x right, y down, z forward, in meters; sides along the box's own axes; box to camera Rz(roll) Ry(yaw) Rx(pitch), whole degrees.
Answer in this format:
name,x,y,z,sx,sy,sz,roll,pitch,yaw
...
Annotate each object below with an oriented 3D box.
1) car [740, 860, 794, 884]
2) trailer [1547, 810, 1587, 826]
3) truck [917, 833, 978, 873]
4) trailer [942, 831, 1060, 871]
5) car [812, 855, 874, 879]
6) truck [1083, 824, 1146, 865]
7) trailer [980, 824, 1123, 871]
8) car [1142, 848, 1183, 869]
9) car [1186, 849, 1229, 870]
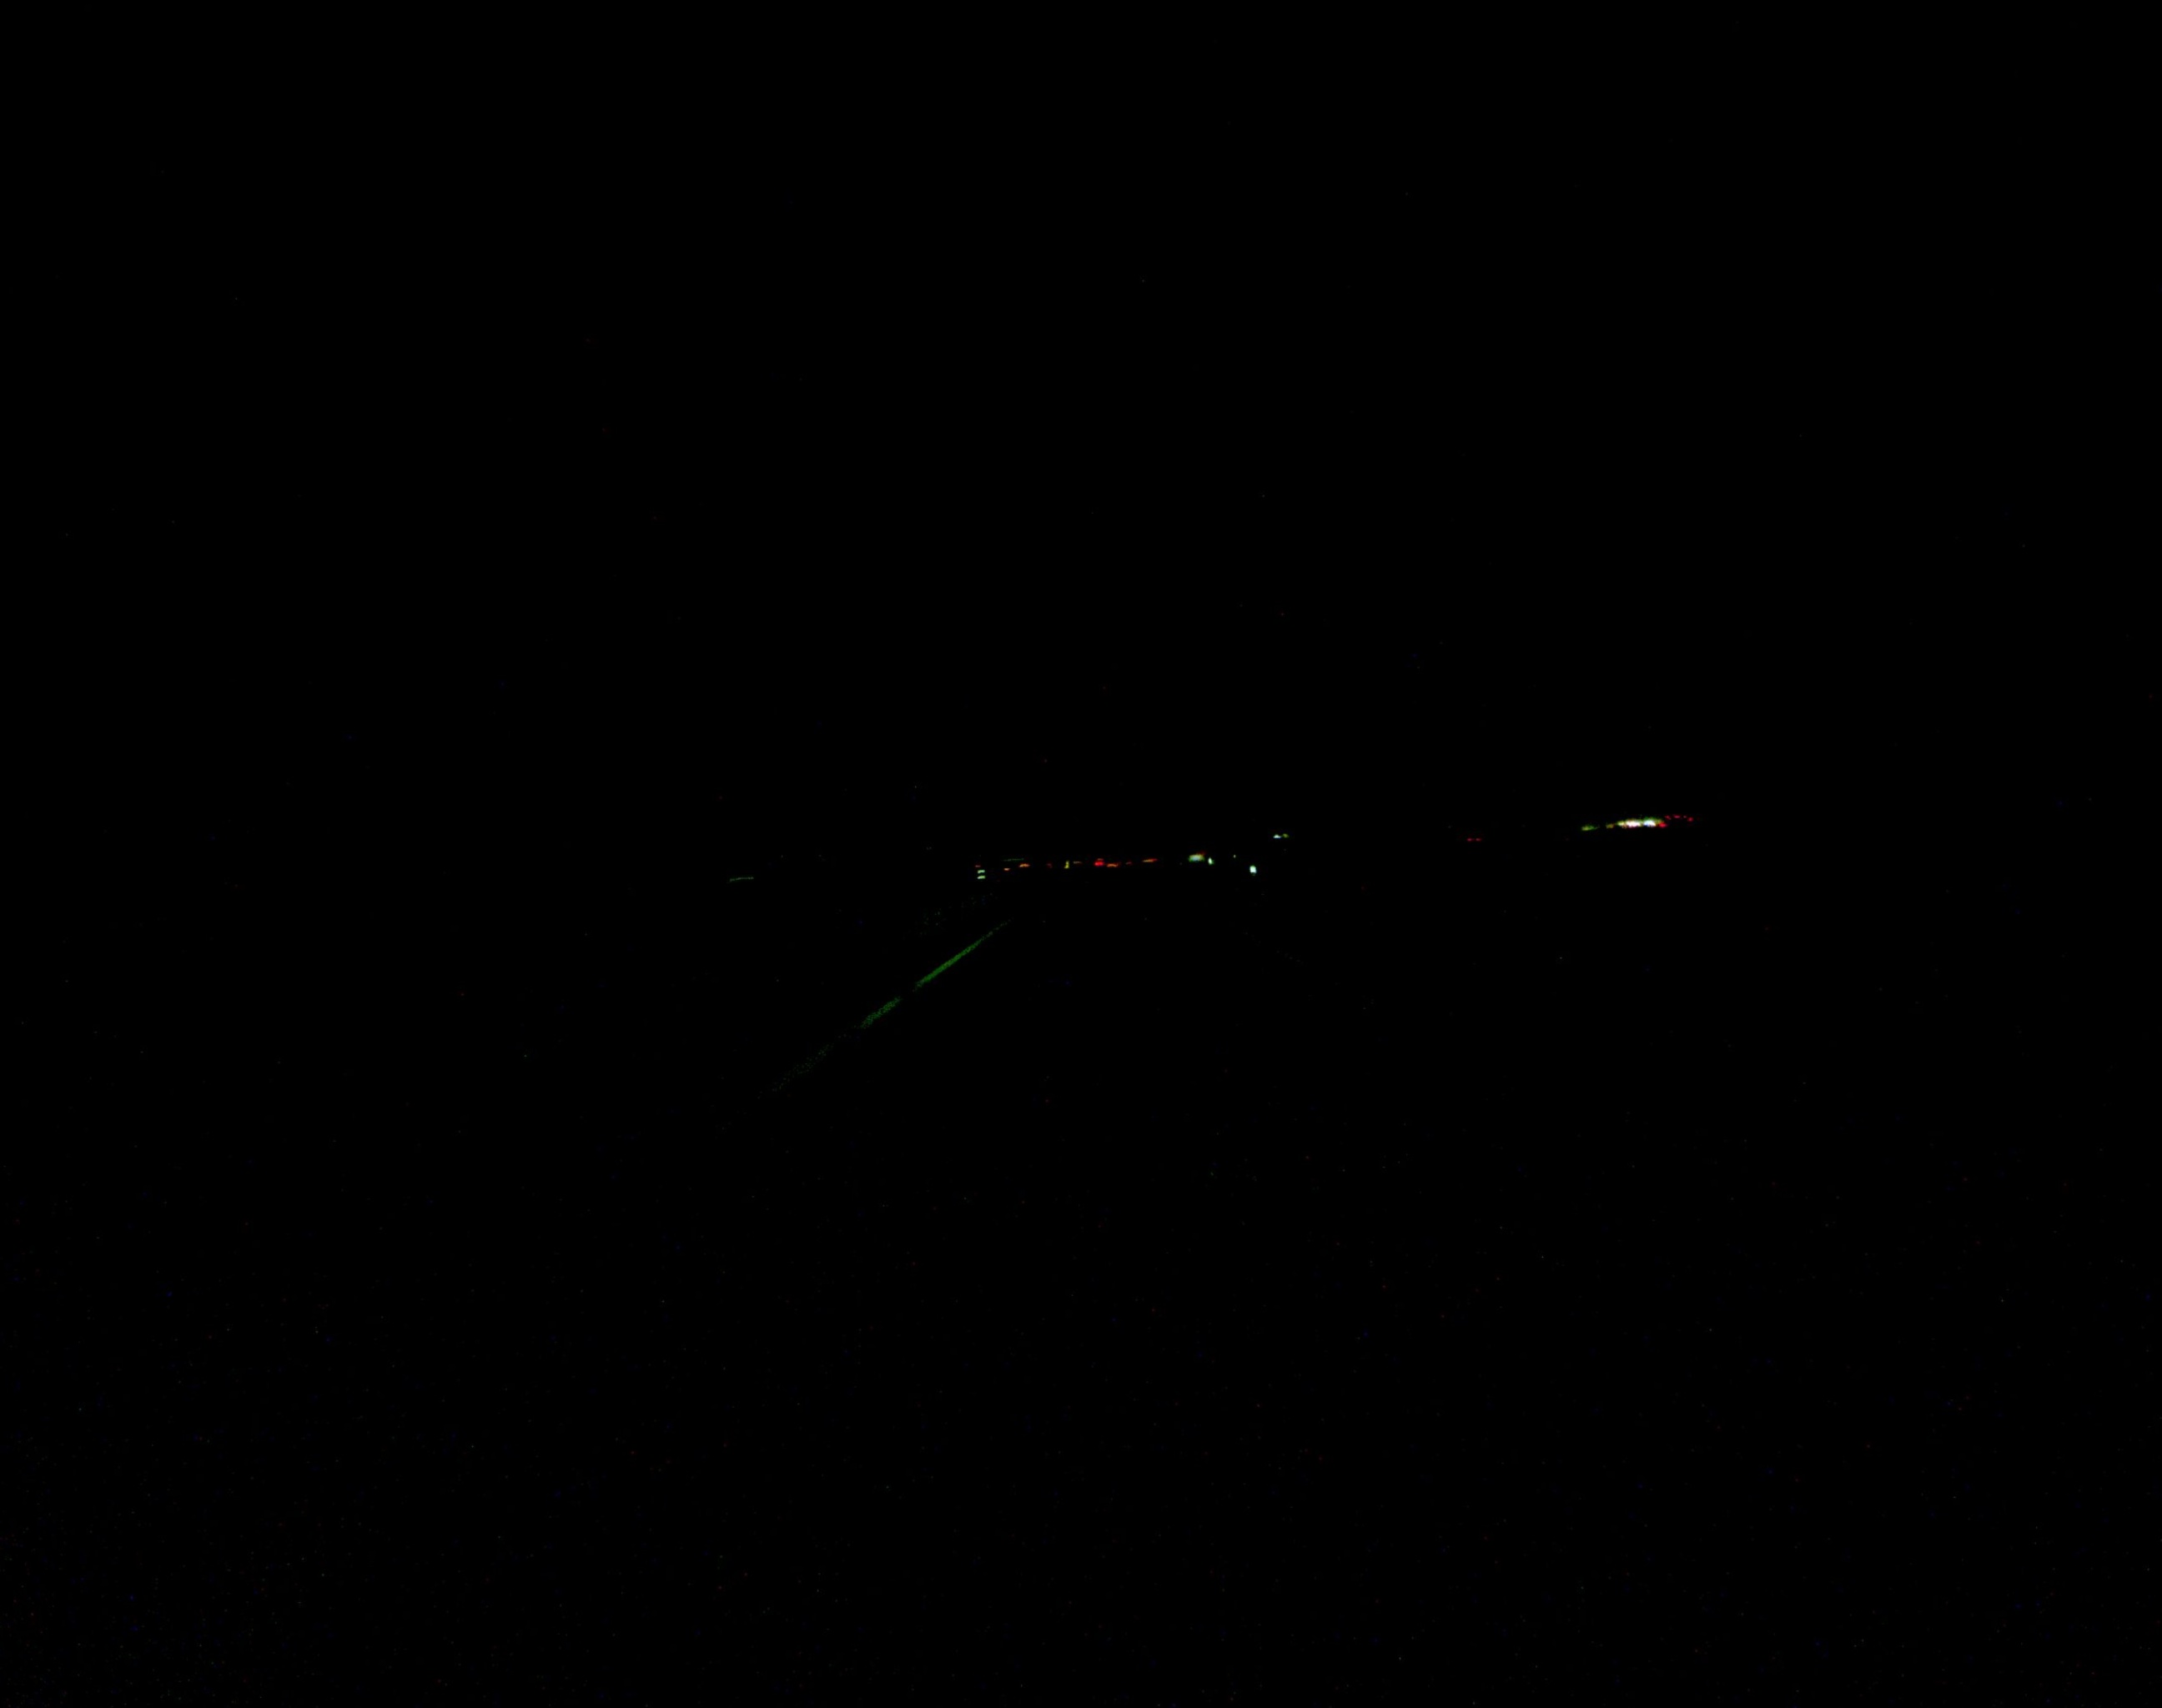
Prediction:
name,x,y,z,sx,sy,sz,roll,pitch,yaw
car,-27.692,1.564,71.872,4.022,1.903,1.897,-3,1,-41
trailer,90.992,-6.814,152.418,12.928,2.699,2.664,-3,2,-42
truck,-14.286,-0.167,87.651,5.778,4.028,2.747,-3,1,-40
trailer,-8.842,-0.441,92.235,14.087,4.028,2.747,-3,1,-40
car,-17.792,0.919,61.029,4.020,1.617,1.977,-2,2,-38
truck,3.139,-0.910,75.718,5.486,3.711,2.566,-2,2,-39
trailer,-2.308,-0.699,71.199,13.722,3.724,2.570,-2,2,-39
car,8.520,0.430,85.197,4.021,2.013,1.976,-2,2,-41
car,12.338,0.549,79.464,4.022,1.818,1.976,-3,1,-42
